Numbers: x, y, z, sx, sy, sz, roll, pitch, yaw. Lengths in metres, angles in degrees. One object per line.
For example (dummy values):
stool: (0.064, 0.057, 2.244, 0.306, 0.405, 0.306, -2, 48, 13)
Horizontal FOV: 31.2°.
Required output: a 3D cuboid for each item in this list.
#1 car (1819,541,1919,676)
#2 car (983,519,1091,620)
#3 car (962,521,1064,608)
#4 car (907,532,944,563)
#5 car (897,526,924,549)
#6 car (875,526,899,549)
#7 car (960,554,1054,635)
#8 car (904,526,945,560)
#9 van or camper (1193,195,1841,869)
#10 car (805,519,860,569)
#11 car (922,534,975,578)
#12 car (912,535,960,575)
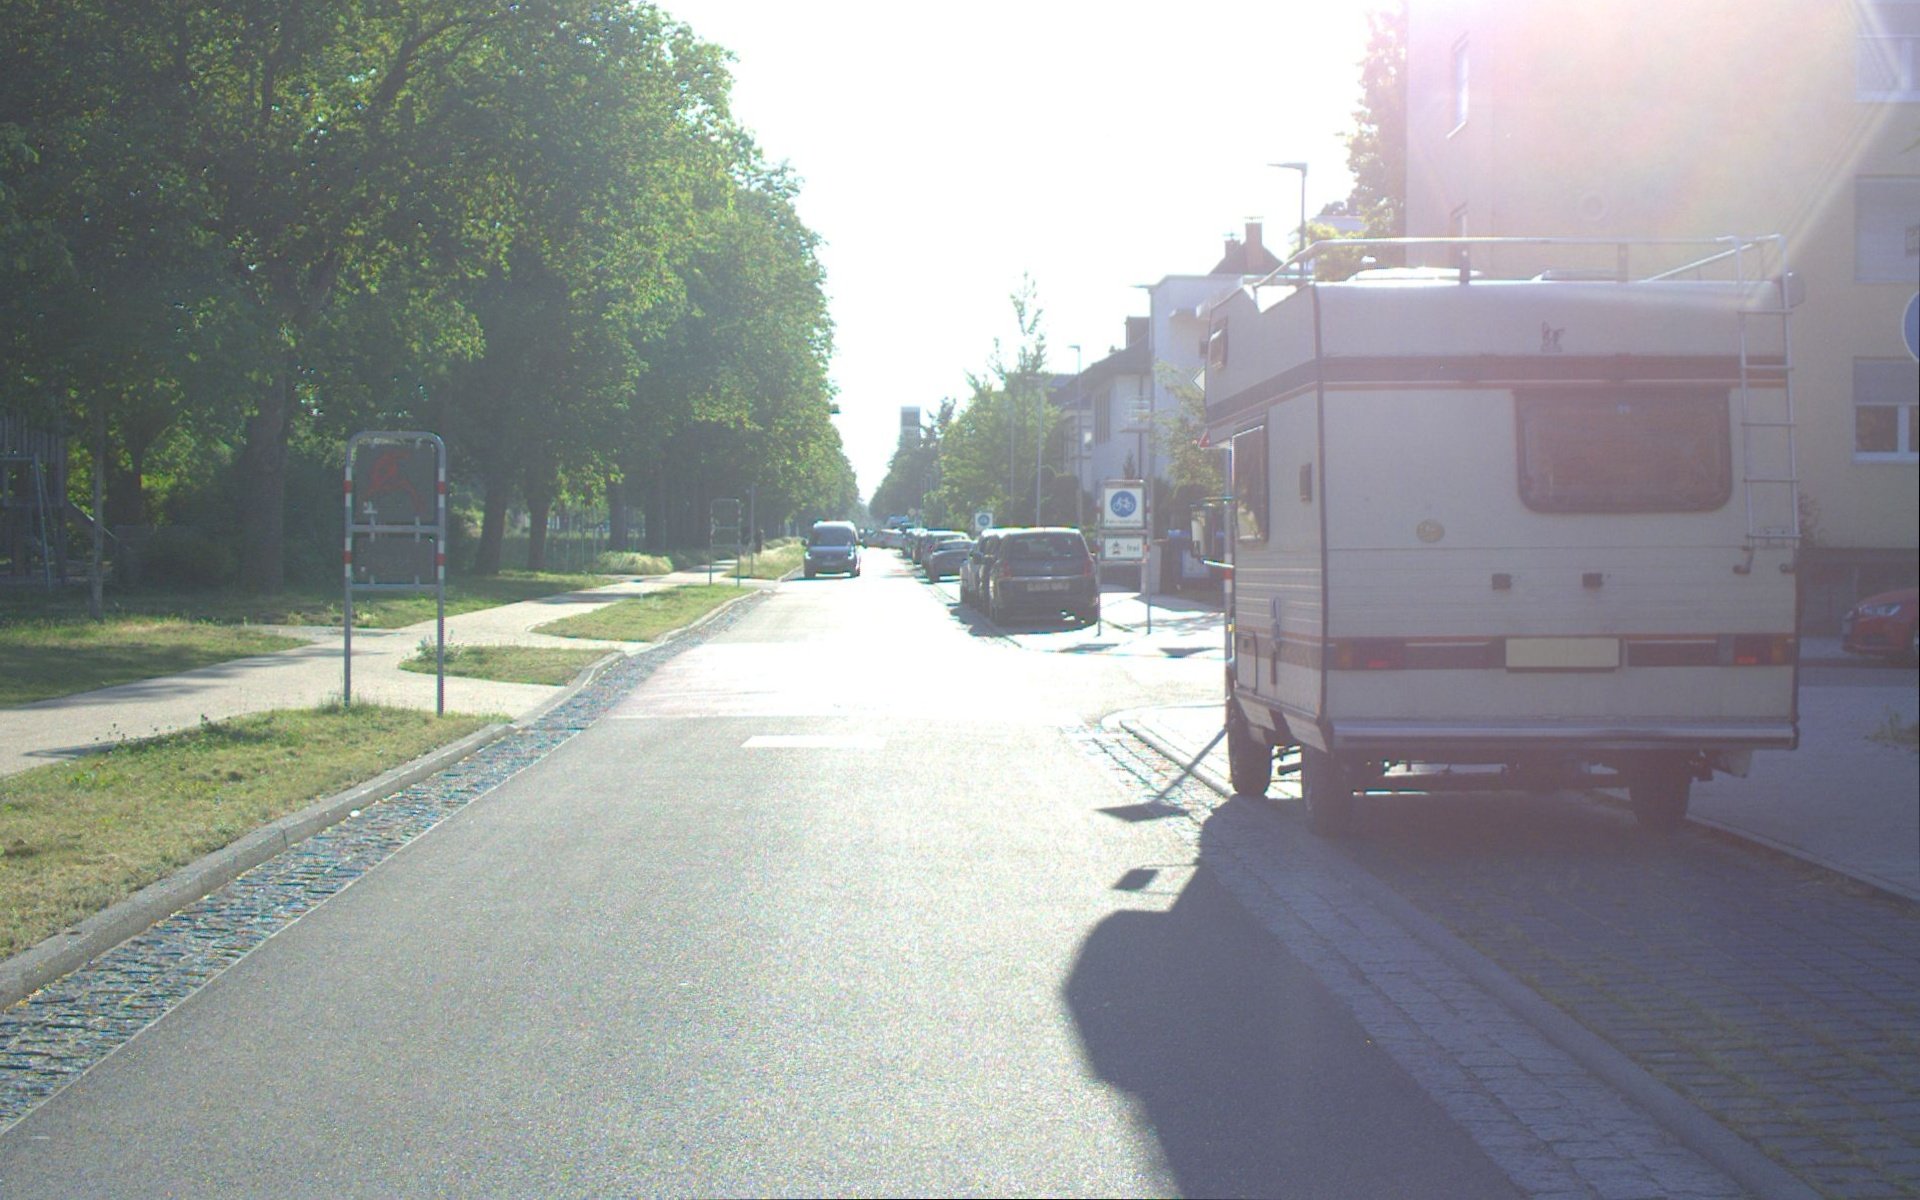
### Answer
car: (12.298, 0.084, 39.921, 4.195, 1.525, 2.000, 0, 1, 3)
car: (1.290, -0.540, 59.165, 1.626, 1.663, 4.250, 0, 1, -2)
car: (1.088, -0.728, 69.734, 1.993, 1.711, 4.000, 0, 1, 1)
car: (-1.629, -2.430, 160.144, 1.626, 1.405, 4.250, 0, 1, -2)
car: (-3.078, -3.836, 212.847, 1.626, 1.405, 4.250, 0, 1, -2)
car: (-5.279, -4.496, 248.251, 1.626, 1.663, 4.250, 0, 1, -2)
car: (1.048, -0.150, 75.306, 1.993, 1.711, 4.000, 0, 1, 1)
car: (-1.490, -2.384, 144.318, 1.626, 1.405, 4.250, 0, 1, -2)
van or camper: (2.596, -0.290, 17.638, 2.234, 2.894, 5.673, 0, 0, -2)
car: (-4.272, -1.891, 115.813, 1.825, 1.663, 4.250, 0, 1, -2)
car: (-0.402, -1.453, 112.816, 1.626, 1.405, 4.250, 0, 1, -2)
car: (-0.886, -1.618, 123.824, 1.626, 1.405, 4.250, 0, 1, -2)
